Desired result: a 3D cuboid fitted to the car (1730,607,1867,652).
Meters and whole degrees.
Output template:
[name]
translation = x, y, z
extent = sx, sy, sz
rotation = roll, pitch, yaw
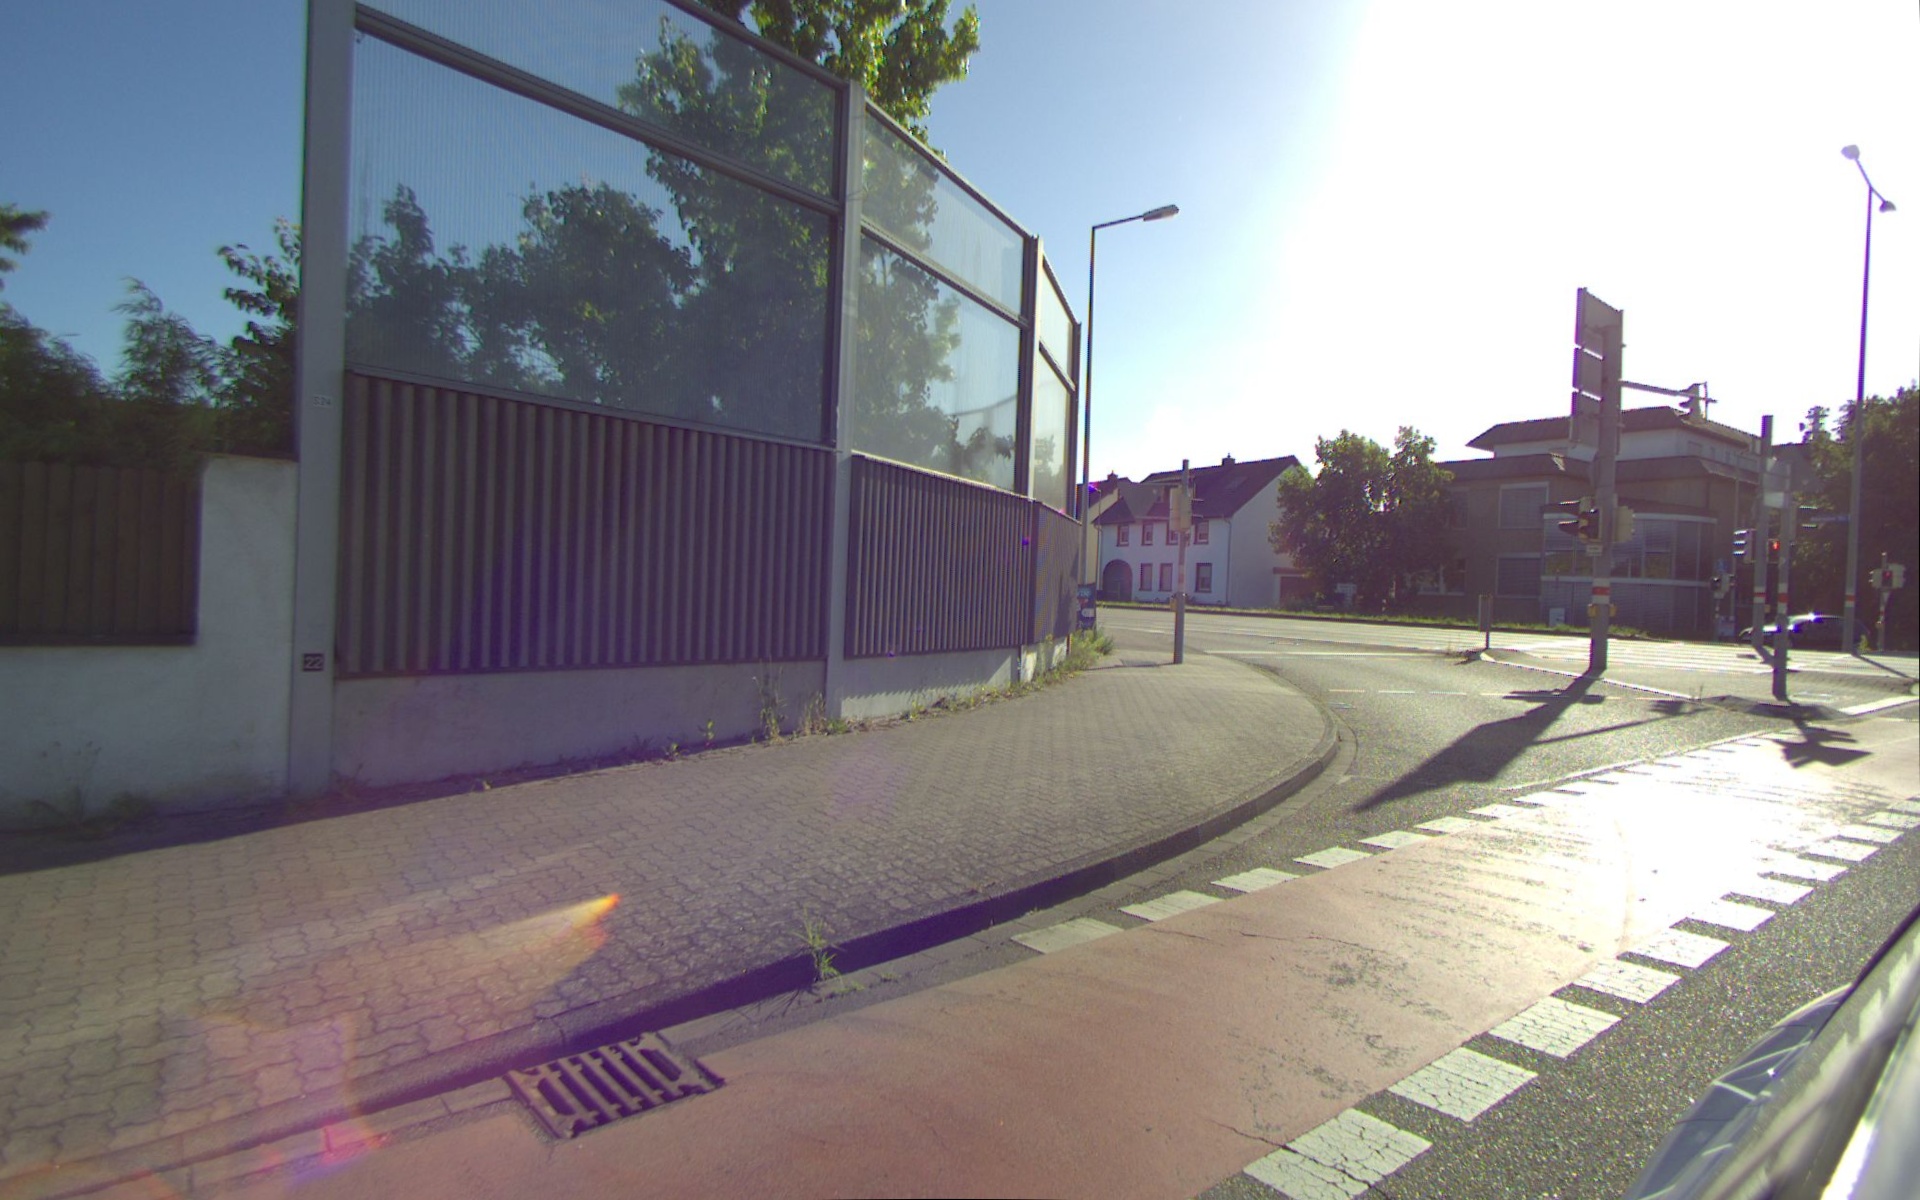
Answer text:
[car]
translation = 31.660, 1.093, 38.350
extent = 3.752, 1.505, 1.757
rotation = 1, -1, 33
